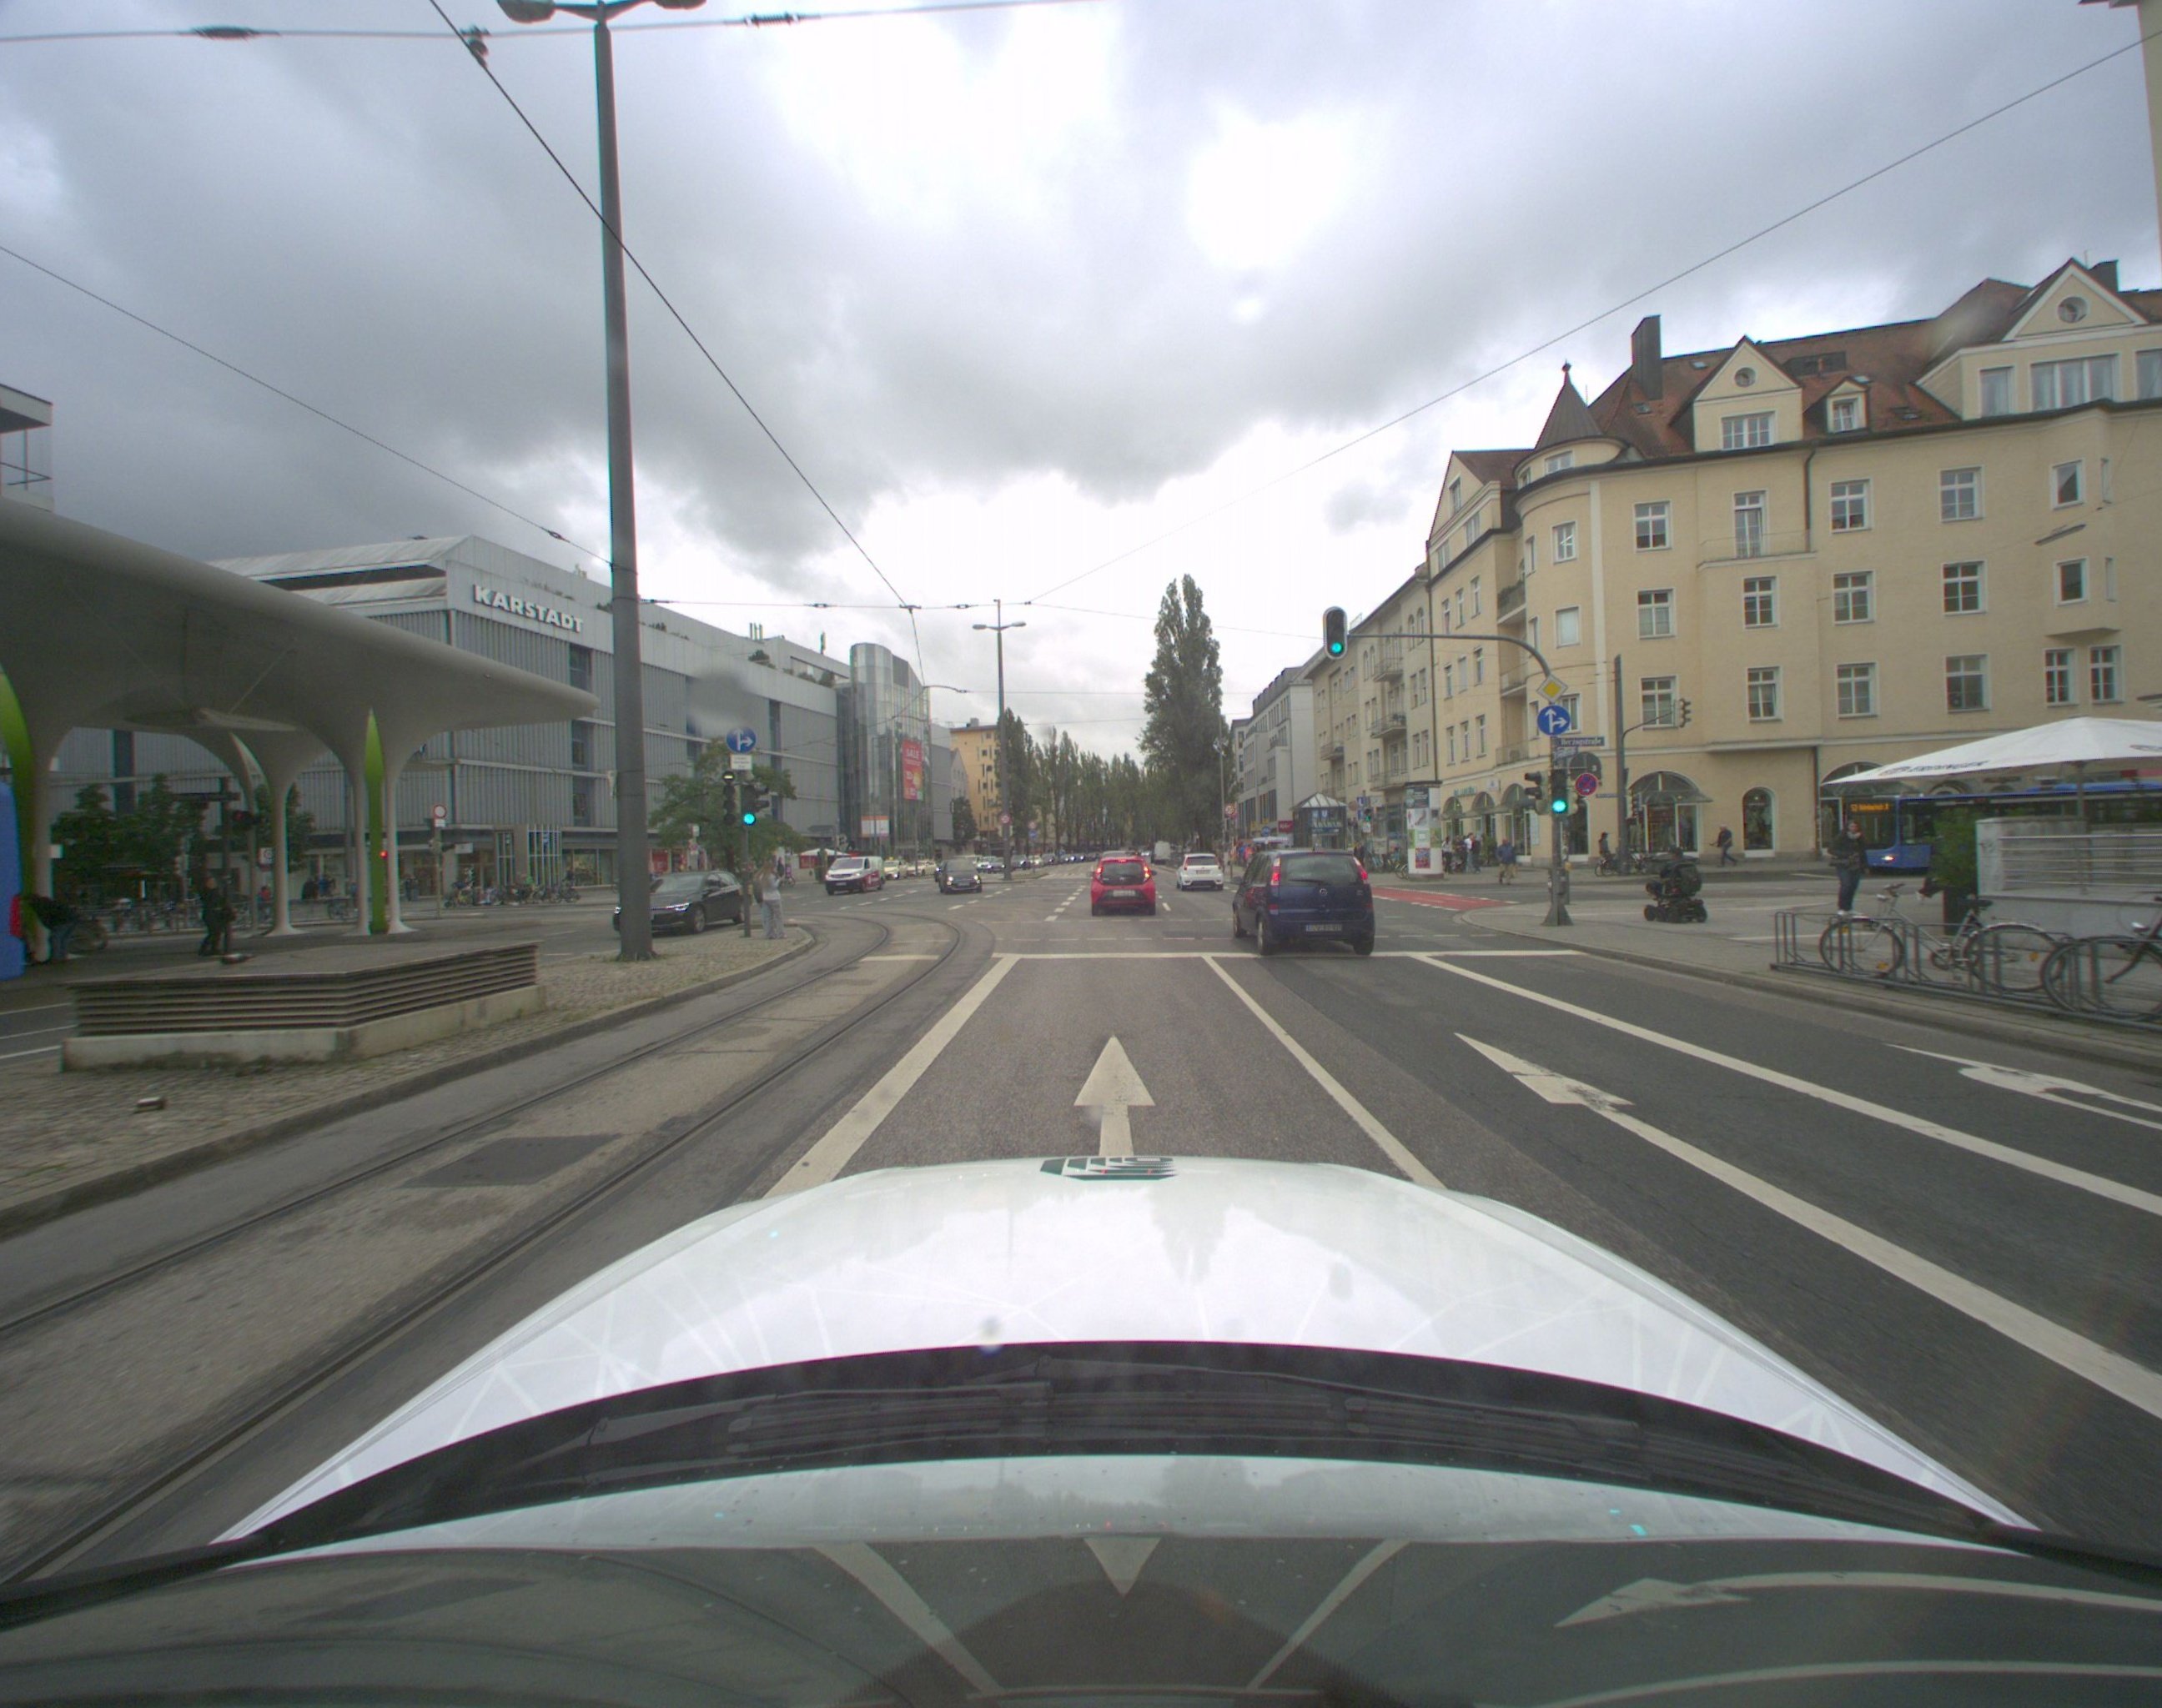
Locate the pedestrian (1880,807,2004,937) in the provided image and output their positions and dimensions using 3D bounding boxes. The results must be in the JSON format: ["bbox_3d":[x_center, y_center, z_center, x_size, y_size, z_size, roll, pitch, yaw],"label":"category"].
[{"bbox_3d":[12.212,0.245,11.572,0.882,1.743,0.854,-2,0,-15],"label":"pedestrian"}]

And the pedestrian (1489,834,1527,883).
[{"bbox_3d":[15.924,0.165,30.396,0.928,1.755,1.068,-2,0,9],"label":"pedestrian"}]

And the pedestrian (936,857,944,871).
[{"bbox_3d":[-16.823,1.163,96.862,0.646,1.691,0.714,-2,0,15],"label":"pedestrian"}]

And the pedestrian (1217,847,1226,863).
[{"bbox_3d":[15.150,0.099,87.677,0.787,1.727,0.764,-2,0,2],"label":"pedestrian"}]

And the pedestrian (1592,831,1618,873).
[{"bbox_3d":[21.636,-0.095,33.651,0.676,1.684,0.749,-2,3,11],"label":"pedestrian"}]

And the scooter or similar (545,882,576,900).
[{"bbox_3d":[-29.746,2.105,46.552,1.399,0.982,0.413,-2,0,-10],"label":"scooter or similar"}]

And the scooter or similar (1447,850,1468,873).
[{"bbox_3d":[16.923,0.330,36.621,0.812,0.994,0.597,-1,3,24],"label":"scooter or similar"}]

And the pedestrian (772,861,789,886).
[{"bbox_3d":[-20.581,1.336,55.753,0.765,1.654,0.754,-2,0,13],"label":"pedestrian"}]

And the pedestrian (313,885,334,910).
[{"bbox_3d":[-47.490,2.732,51.086,0.675,1.552,0.658,-2,0,10],"label":"pedestrian"}]

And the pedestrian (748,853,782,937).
[{"bbox_3d":[-6.277,0.810,16.190,0.489,1.618,0.552,-2,0,-33],"label":"pedestrian"}]

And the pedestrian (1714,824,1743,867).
[{"bbox_3d":[26.610,-0.342,33.479,0.676,1.705,0.749,-2,3,11],"label":"pedestrian"}]

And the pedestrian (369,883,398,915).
[{"bbox_3d":[-37.267,2.409,43.511,0.781,1.642,0.861,-2,0,13],"label":"pedestrian"}]

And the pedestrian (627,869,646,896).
[{"bbox_3d":[-27.462,1.752,50.301,0.633,1.574,0.724,-2,0,19],"label":"pedestrian"}]

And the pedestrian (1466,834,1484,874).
[{"bbox_3d":[17.567,-0.003,36.309,0.642,1.751,0.640,-1,3,24],"label":"pedestrian"}]

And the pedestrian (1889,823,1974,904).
[{"bbox_3d":[16.930,0.182,16.222,0.730,1.540,0.887,-2,0,-13],"label":"pedestrian"}]

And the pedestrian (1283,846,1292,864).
[{"bbox_3d":[17.347,0.111,68.451,0.573,1.505,0.620,-2,0,33],"label":"pedestrian"}]

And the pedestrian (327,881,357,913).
[{"bbox_3d":[-39.632,2.286,43.698,0.794,1.654,0.855,-2,0,13],"label":"pedestrian"}]

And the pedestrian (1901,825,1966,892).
[{"bbox_3d":[21.035,0.111,20.106,0.754,1.585,0.769,-2,0,6],"label":"pedestrian"}]

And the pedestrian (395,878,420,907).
[{"bbox_3d":[-40.427,2.304,48.906,0.782,1.687,0.786,-2,0,7],"label":"pedestrian"}]

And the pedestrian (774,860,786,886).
[{"bbox_3d":[-21.043,1.333,56.902,0.752,1.773,0.767,-2,0,-21],"label":"pedestrian"}]

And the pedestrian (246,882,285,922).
[{"bbox_3d":[-34.979,2.056,34.942,0.851,1.642,0.791,-2,0,6],"label":"pedestrian"}]

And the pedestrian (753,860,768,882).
[{"bbox_3d":[-22.074,1.172,56.117,0.754,1.493,0.765,-2,0,-33],"label":"pedestrian"}]

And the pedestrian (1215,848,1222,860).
[{"bbox_3d":[18.259,-0.013,108.282,0.710,1.558,0.676,-2,0,2],"label":"pedestrian"}]

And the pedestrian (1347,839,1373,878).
[{"bbox_3d":[12.436,0.196,36.317,0.826,1.691,0.825,-2,0,39],"label":"pedestrian"}]

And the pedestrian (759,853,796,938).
[{"bbox_3d":[-5.952,0.808,15.949,0.466,1.618,0.515,-2,-1,-45],"label":"pedestrian"}]

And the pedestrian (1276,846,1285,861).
[{"bbox_3d":[21.047,-0.067,85.820,0.710,1.558,0.676,-2,0,2],"label":"pedestrian"}]

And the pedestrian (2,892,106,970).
[{"bbox_3d":[-20.673,1.540,16.412,0.845,1.453,1.029,-2,0,15],"label":"pedestrian"}]

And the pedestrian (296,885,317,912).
[{"bbox_3d":[-47.625,2.733,50.076,0.675,1.552,0.658,-2,0,10],"label":"pedestrian"}]

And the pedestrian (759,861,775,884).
[{"bbox_3d":[-22.020,1.305,57.101,0.763,1.554,0.756,-2,0,44],"label":"pedestrian"}]

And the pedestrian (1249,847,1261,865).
[{"bbox_3d":[14.923,0.178,69.771,0.805,1.522,0.801,-2,0,3],"label":"pedestrian"}]

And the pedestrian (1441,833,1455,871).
[{"bbox_3d":[16.781,-0.101,37.212,0.560,1.670,0.565,-1,3,24],"label":"pedestrian"}]

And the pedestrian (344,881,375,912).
[{"bbox_3d":[-38.703,2.290,43.694,0.734,1.588,0.952,-2,0,13],"label":"pedestrian"}]

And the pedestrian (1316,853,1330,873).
[{"bbox_3d":[18.428,0.690,61.995,0.775,1.517,0.758,-3,0,0],"label":"pedestrian"}]

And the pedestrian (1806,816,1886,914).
[{"bbox_3d":[13.706,0.189,14.602,0.762,1.695,0.762,-2,0,-24],"label":"pedestrian"}]

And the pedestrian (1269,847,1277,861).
[{"bbox_3d":[18.891,-0.019,80.249,0.596,1.402,0.580,-2,0,2],"label":"pedestrian"}]

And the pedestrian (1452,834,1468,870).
[{"bbox_3d":[17.449,-0.109,37.483,0.556,1.609,0.570,-2,3,15],"label":"pedestrian"}]

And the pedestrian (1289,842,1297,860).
[{"bbox_3d":[17.985,-0.237,69.046,0.501,1.484,0.468,-2,0,37],"label":"pedestrian"}]

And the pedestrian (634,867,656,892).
[{"bbox_3d":[-28.766,1.686,53.707,0.791,1.581,0.980,-2,0,13],"label":"pedestrian"}]

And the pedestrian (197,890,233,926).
[{"bbox_3d":[-41.441,2.589,38.963,0.794,1.654,0.855,-2,0,13],"label":"pedestrian"}]

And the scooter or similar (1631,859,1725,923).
[{"bbox_3d":[10.878,0.655,14.876,0.773,1.075,1.256,-2,0,0],"label":"scooter or similar"}]

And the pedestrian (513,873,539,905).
[{"bbox_3d":[-29.352,1.852,43.108,0.840,1.618,0.806,-2,0,-13],"label":"pedestrian"}]

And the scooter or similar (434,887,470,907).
[{"bbox_3d":[-33.362,2.288,43.201,1.404,0.982,0.412,-2,0,-19],"label":"scooter or similar"}]

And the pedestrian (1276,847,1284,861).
[{"bbox_3d":[19.607,-0.021,80.261,0.572,1.402,0.580,-2,0,2],"label":"pedestrian"}]

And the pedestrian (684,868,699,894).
[{"bbox_3d":[-25.850,1.801,54.024,0.791,1.687,0.853,-2,0,-33],"label":"pedestrian"}]

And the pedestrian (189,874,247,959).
[{"bbox_3d":[-18.145,1.304,17.130,0.543,1.720,0.616,-2,0,9],"label":"pedestrian"}]

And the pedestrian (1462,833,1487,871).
[{"bbox_3d":[18.111,-0.106,37.485,0.648,1.705,0.727,-4,3,-27],"label":"pedestrian"}]
